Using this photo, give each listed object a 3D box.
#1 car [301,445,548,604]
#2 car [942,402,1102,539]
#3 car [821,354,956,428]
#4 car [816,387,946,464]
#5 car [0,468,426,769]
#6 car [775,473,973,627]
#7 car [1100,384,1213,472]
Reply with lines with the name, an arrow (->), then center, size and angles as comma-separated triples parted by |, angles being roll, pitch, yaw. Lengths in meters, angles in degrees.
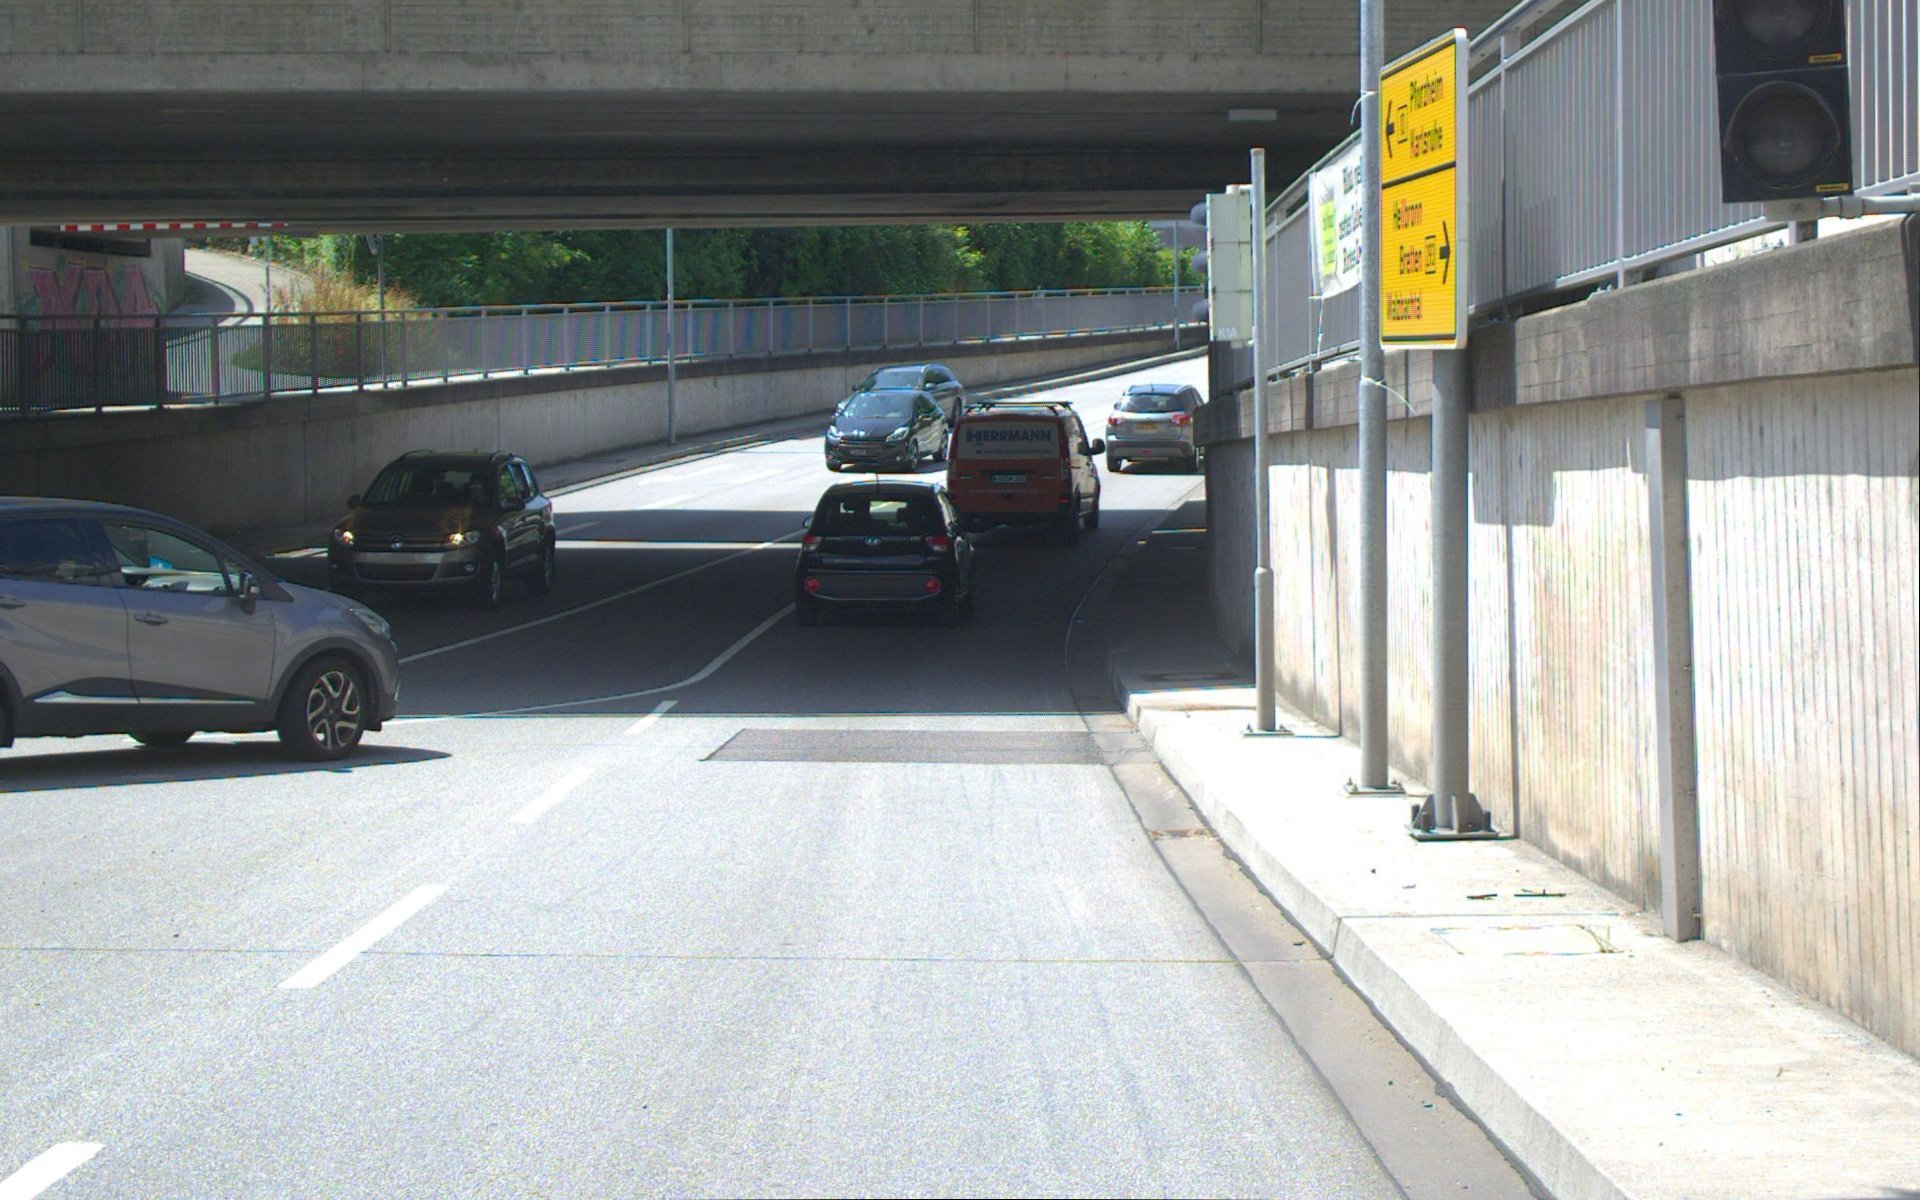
car -> -5.902, -0.886, 38.362 | 1.993, 1.621, 4.001 | 0, 3, 2
car -> 0.974, -1.971, 51.054 | 1.873, 1.925, 4.719 | 1, 3, 7
car -> -1.560, -4.641, 76.482 | 1.995, 1.583, 3.998 | 1, 3, 15
car -> -1.496, -3.402, 66.839 | 1.783, 1.431, 3.999 | 1, 3, 10
car -> -5.335, 0.056, 20.140 | 1.999, 1.583, 3.990 | 3, 4, 42
car -> -0.863, -0.580, 36.602 | 1.993, 1.502, 4.001 | 0, 3, 0
car -> 3.815, -3.324, 66.301 | 1.805, 1.612, 3.999 | 1, 3, 8
